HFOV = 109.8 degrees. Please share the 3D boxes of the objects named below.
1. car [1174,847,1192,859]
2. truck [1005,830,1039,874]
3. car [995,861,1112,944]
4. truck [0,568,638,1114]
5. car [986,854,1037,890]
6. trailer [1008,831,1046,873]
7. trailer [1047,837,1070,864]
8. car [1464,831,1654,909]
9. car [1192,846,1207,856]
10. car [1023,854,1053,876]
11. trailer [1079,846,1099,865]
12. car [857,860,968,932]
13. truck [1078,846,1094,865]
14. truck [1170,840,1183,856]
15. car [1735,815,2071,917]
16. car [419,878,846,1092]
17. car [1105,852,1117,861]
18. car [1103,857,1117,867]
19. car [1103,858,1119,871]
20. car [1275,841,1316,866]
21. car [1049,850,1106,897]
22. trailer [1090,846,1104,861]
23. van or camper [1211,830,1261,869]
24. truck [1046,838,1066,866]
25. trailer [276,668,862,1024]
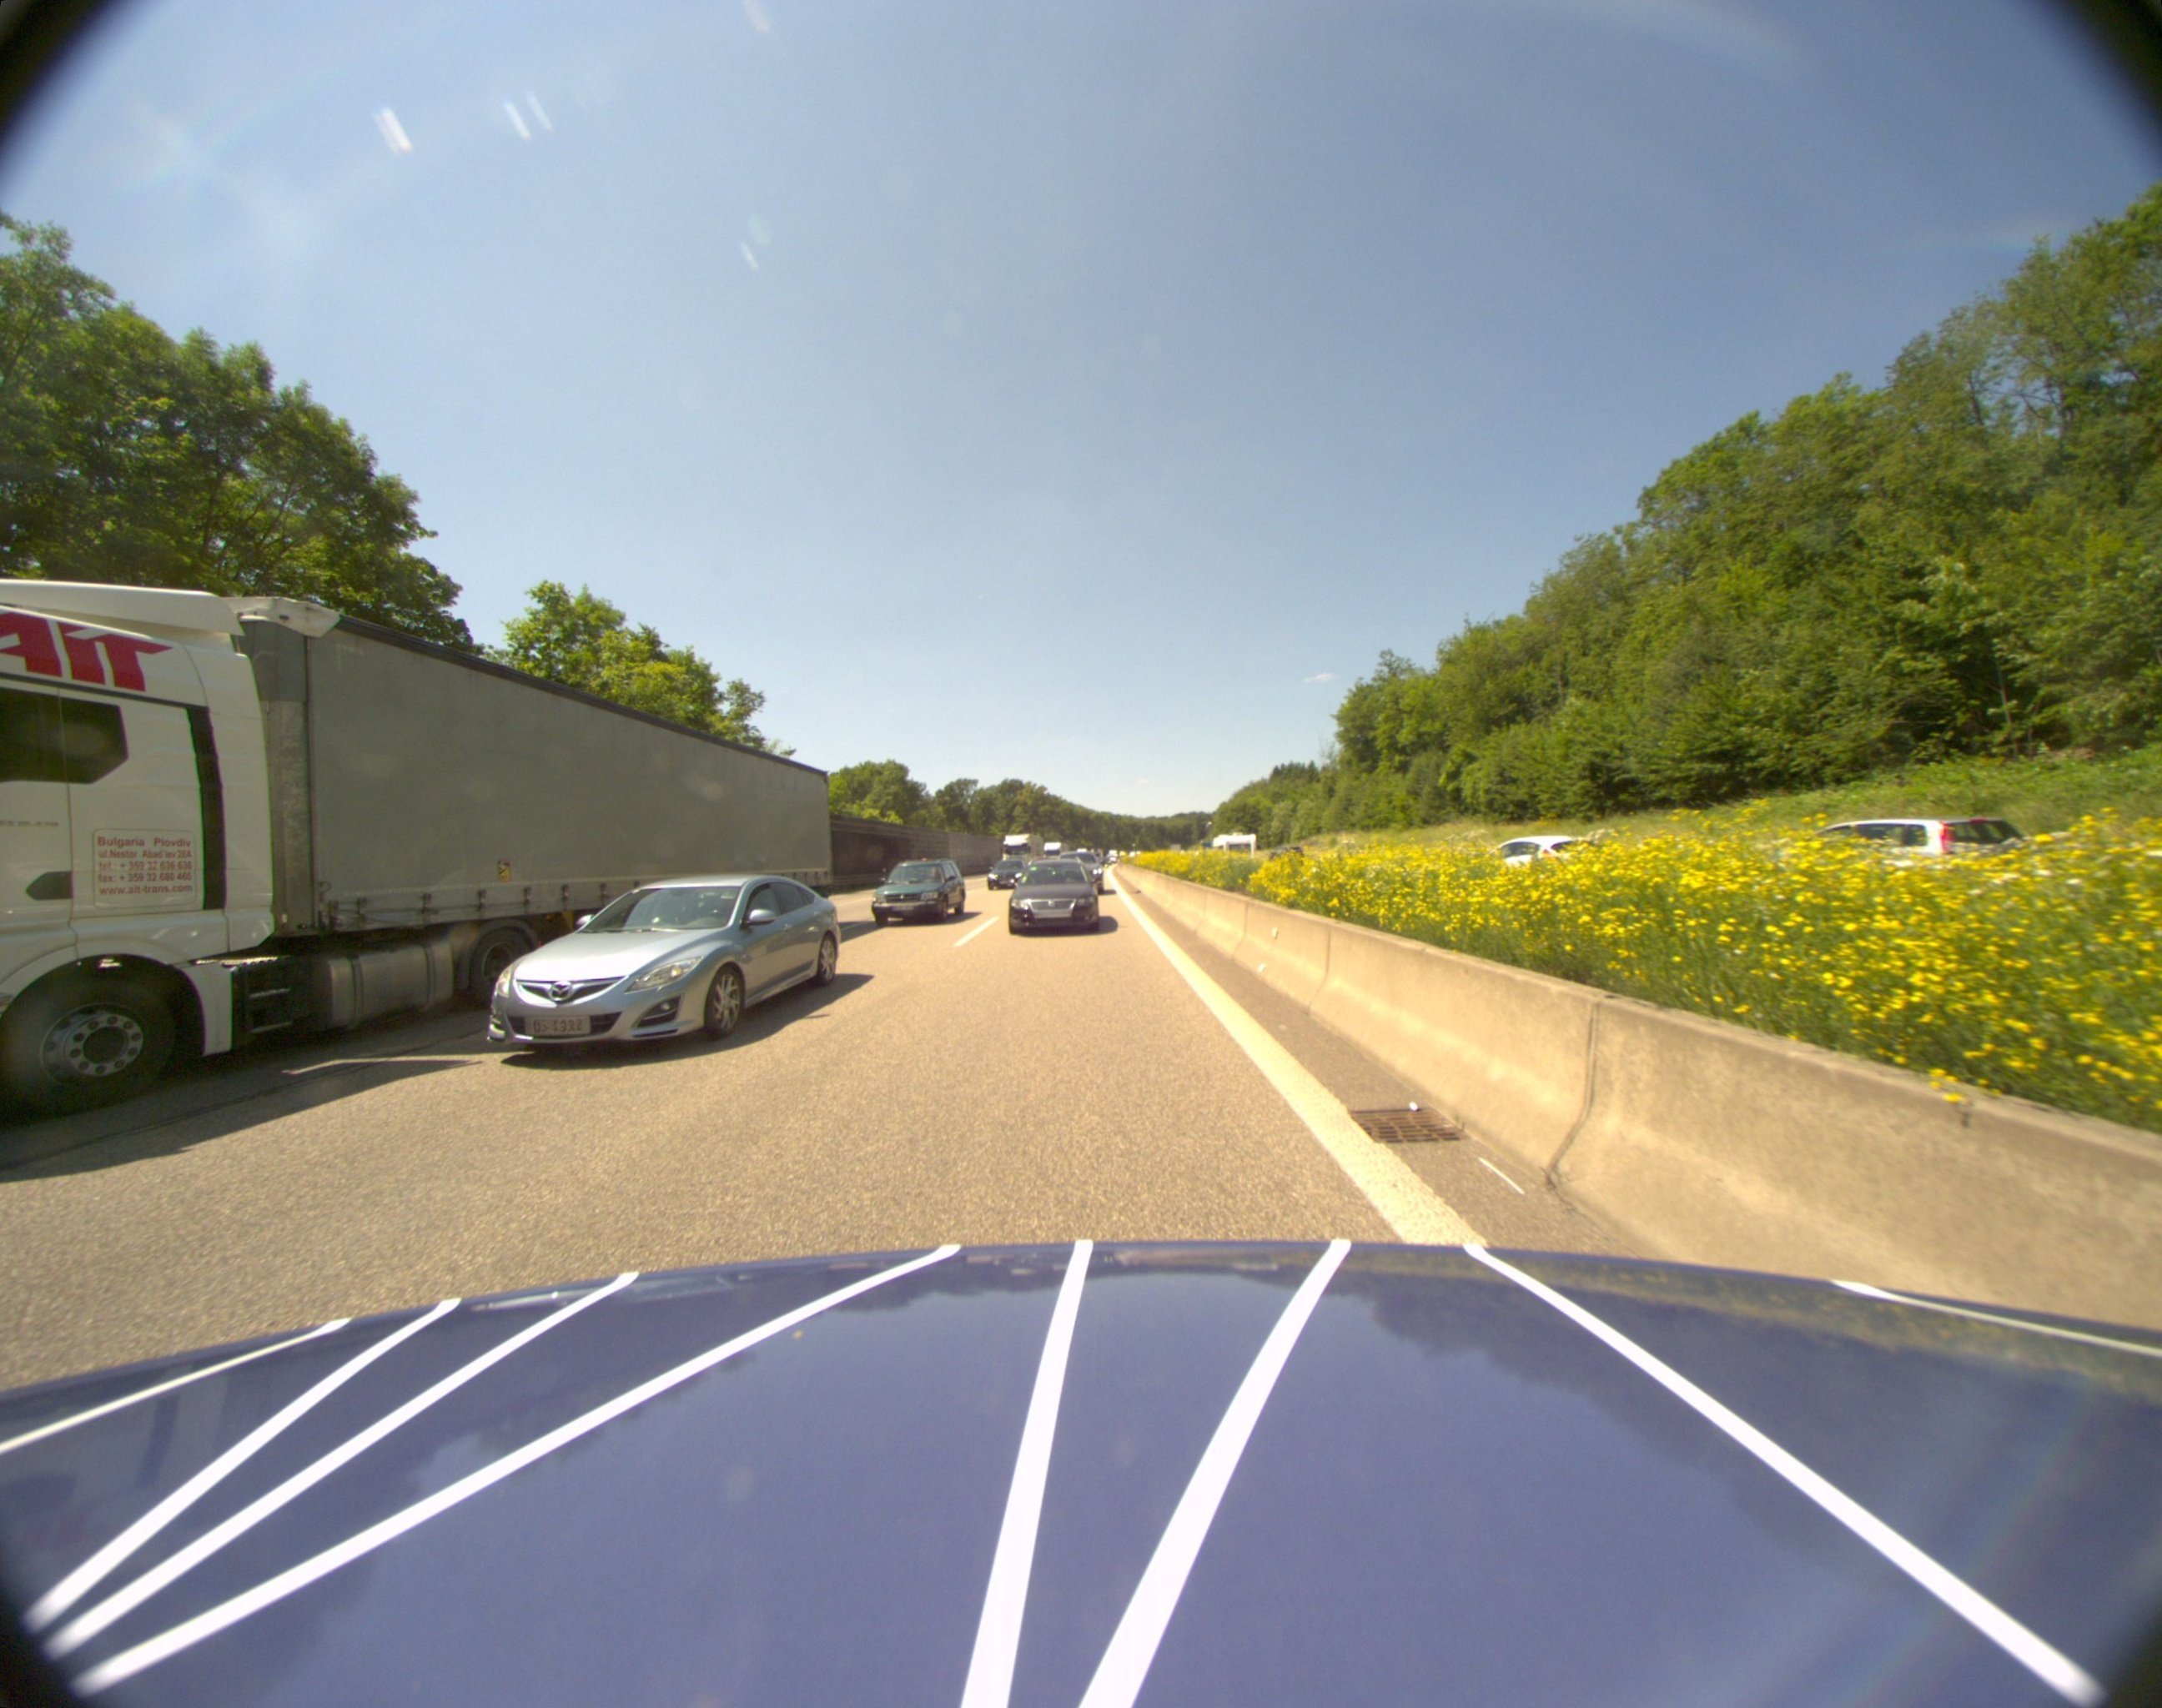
[{"bbox_3d":[13.908,-0.101,103.474,1.844,1.513,4.357,-3,0,1],"label":"car"},{"bbox_3d":[-6.025,-0.198,78.179,2.812,4.190,5.422,-3,0,1],"label":"truck"},{"bbox_3d":[-0.433,0.915,15.994,1.907,1.410,4.002,-3,0,5],"label":"car"},{"bbox_3d":[-8.030,-0.075,8.526,2.605,4.066,5.552,-2,0,1],"label":"truck"},{"bbox_3d":[-3.435,0.847,38.402,1.998,1.641,4.000,-3,0,2],"label":"car"},{"bbox_3d":[-5.895,-0.151,85.197,2.821,4.190,13.466,-3,0,1],"label":"trailer"},{"bbox_3d":[-3.606,-0.493,125.738,2.542,4.149,10.179,-3,0,4],"label":"trailer"},{"bbox_3d":[11.117,0.332,18.081,1.998,1.565,4.000,-2,0,1],"label":"car"},{"bbox_3d":[22.755,-0.559,146.047,1.998,1.682,4.767,-3,0,1],"label":"car"},{"bbox_3d":[-3.480,0.899,62.128,1.998,1.641,4.000,-3,0,2],"label":"car"},{"bbox_3d":[2.102,0.402,187.745,2.852,4.391,13.035,-3,0,9],"label":"trailer"},{"bbox_3d":[-4.183,0.987,19.532,1.908,1.550,4.000,-3,0,0],"label":"car"},{"bbox_3d":[1.173,0.425,181.676,2.852,4.381,5.243,-3,0,9],"label":"truck"},{"bbox_3d":[26.034,-1.647,206.800,2.834,3.915,13.754,-3,0,9],"label":"truck"},{"bbox_3d":[15.057,0.187,14.322,1.998,1.565,4.000,-2,0,1],"label":"car"},{"bbox_3d":[-4.039,1.056,7.844,1.860,1.426,4.177,-3,0,0],"label":"car"},{"bbox_3d":[5.919,0.491,151.126,1.997,1.641,4.002,-3,0,7],"label":"car"},{"bbox_3d":[5.026,1.349,129.646,1.997,1.641,4.002,-3,0,7],"label":"car"},{"bbox_3d":[4.119,1.392,103.386,1.998,1.641,4.001,-3,0,3],"label":"car"},{"bbox_3d":[15.609,-0.055,55.438,1.759,1.686,4.422,-2,0,1],"label":"car"},{"bbox_3d":[-0.066,0.709,29.945,1.998,1.641,4.000,-2,0,3],"label":"car"},{"bbox_3d":[4.599,-0.145,220.475,3.154,4.061,6.186,-3,0,7],"label":"trailer"},{"bbox_3d":[11.391,-0.320,56.433,2.314,2.620,7.399,-2,0,2],"label":"van or camper"},{"bbox_3d":[-3.948,-0.323,120.694,2.545,4.149,4.746,-3,0,4],"label":"truck"},{"bbox_3d":[-7.948,-0.112,15.707,2.605,4.066,13.591,-2,0,1],"label":"trailer"}]
